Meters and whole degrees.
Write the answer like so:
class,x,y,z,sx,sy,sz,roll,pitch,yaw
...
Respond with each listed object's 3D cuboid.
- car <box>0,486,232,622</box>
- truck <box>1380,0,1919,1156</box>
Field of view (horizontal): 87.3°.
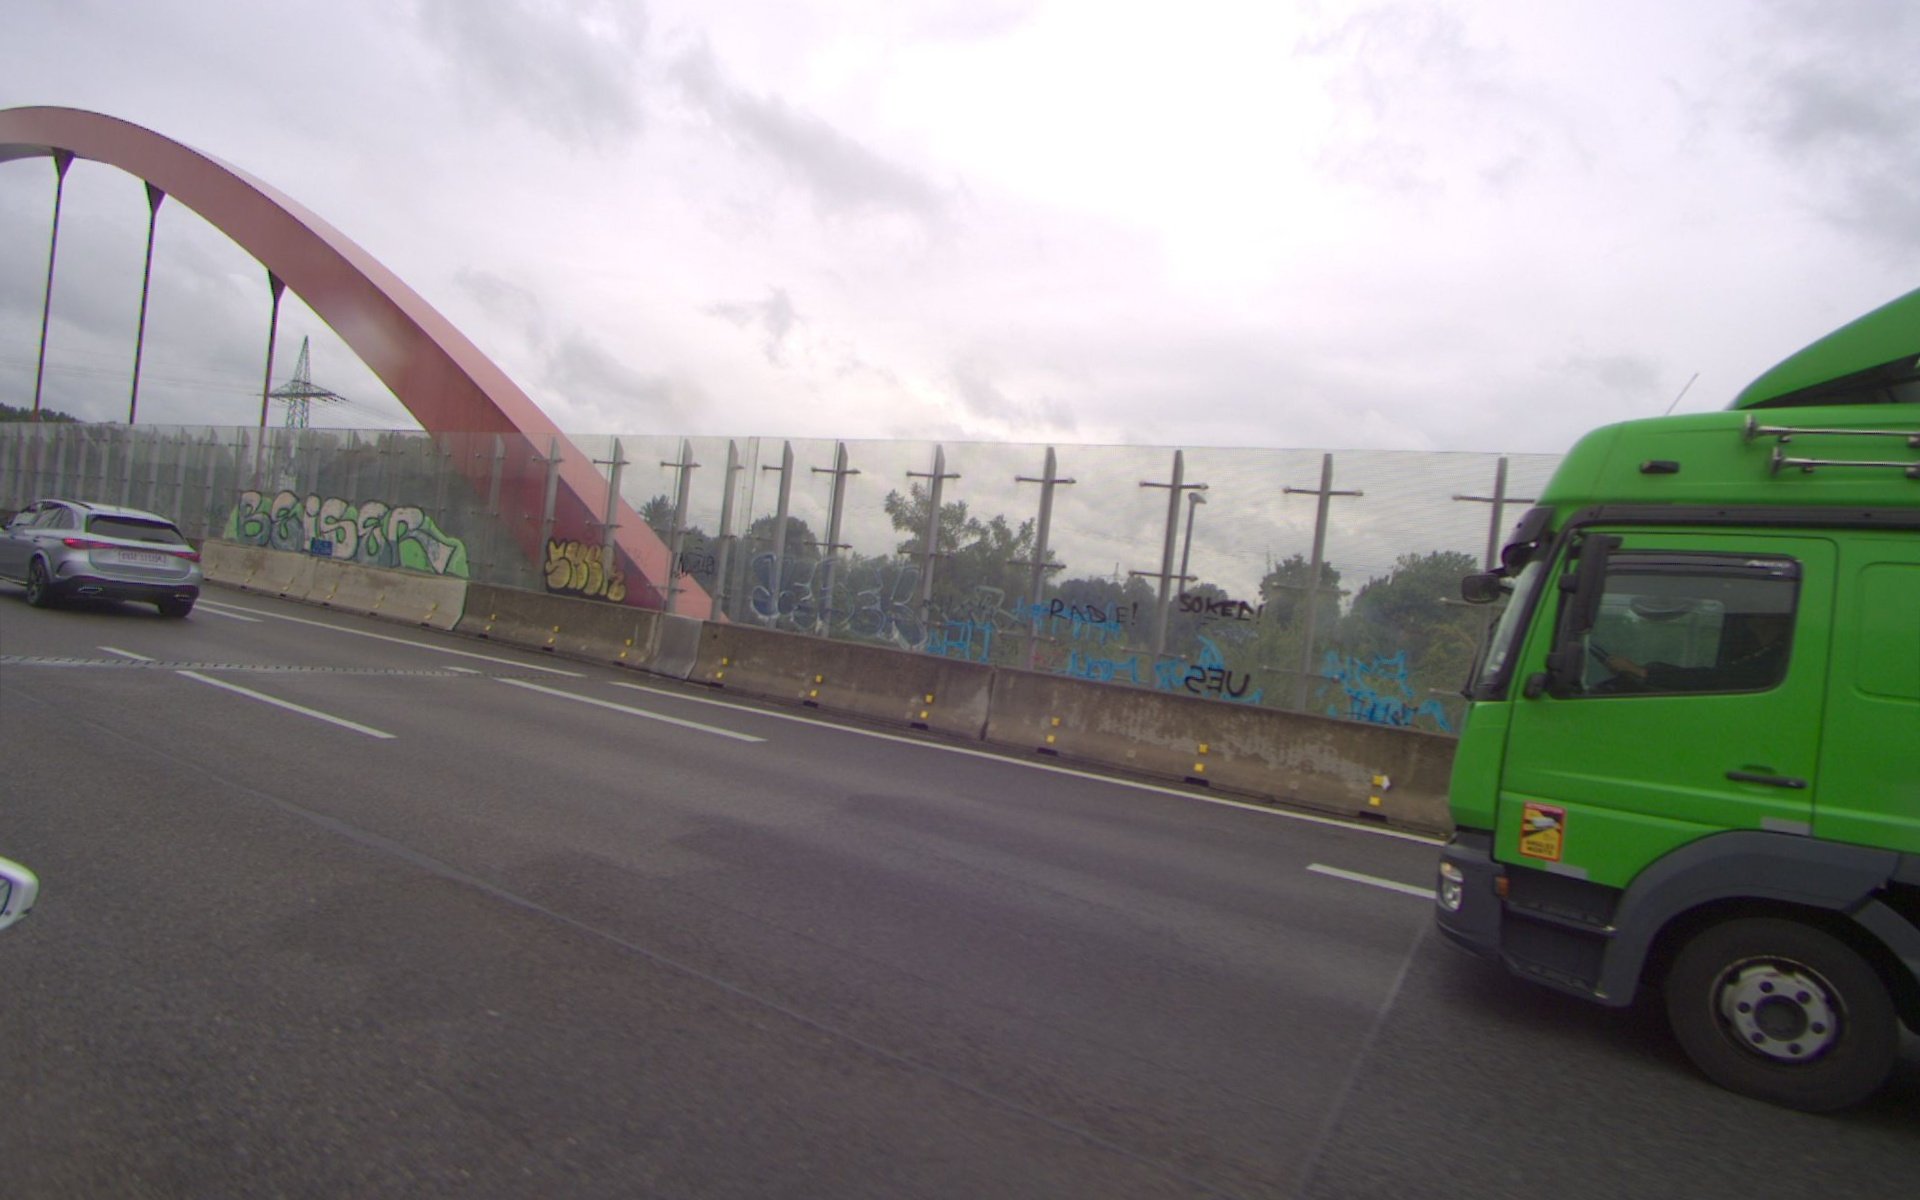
class,x,y,z,sx,sy,sz,roll,pitch,yaw
car,-14.273,-0.825,16.281,5.238,1.638,1.998,7,-2,31
truck,7.951,-0.065,3.503,11.033,5.328,4.005,7,-1,32
